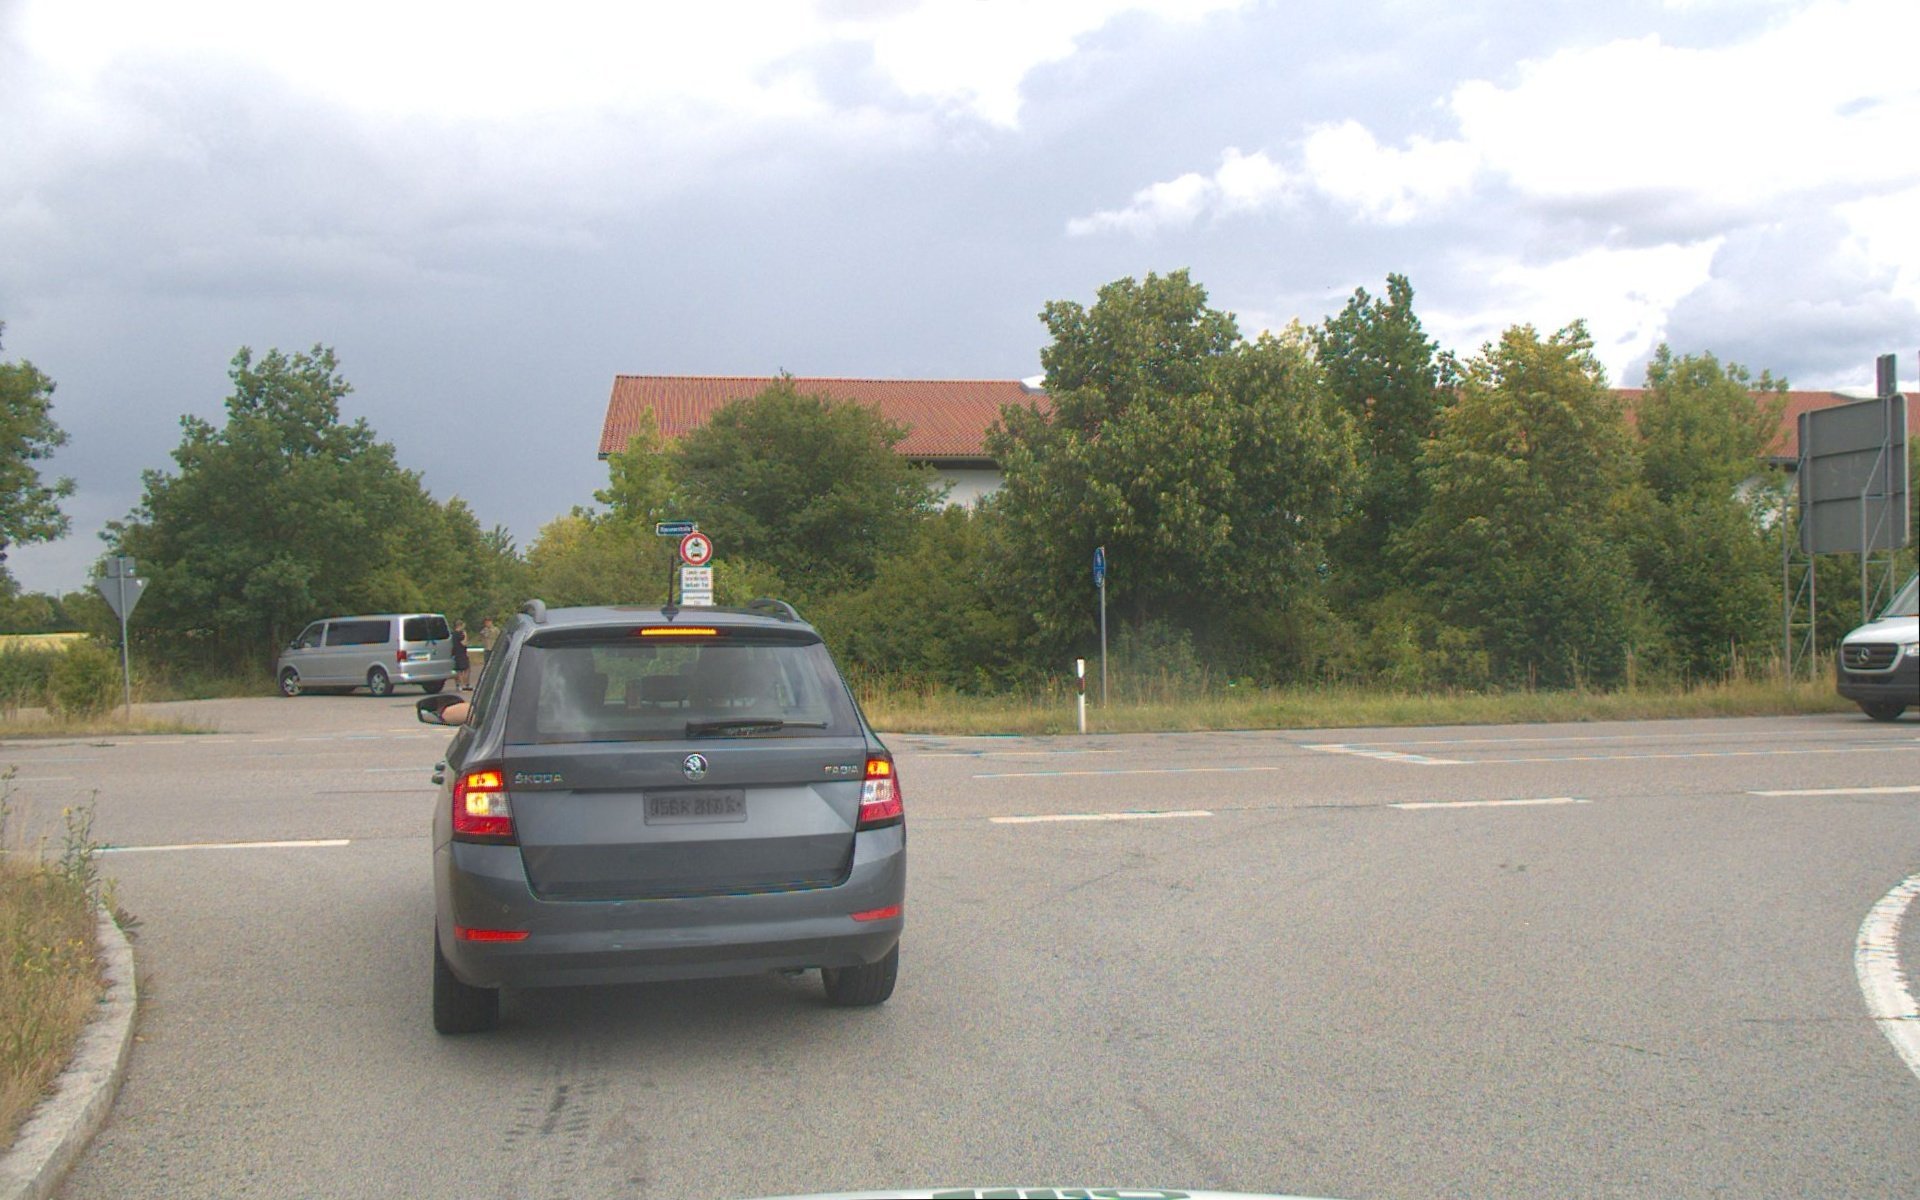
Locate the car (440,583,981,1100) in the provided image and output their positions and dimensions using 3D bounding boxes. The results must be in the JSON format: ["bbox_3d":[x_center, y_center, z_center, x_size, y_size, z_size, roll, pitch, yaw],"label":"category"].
[{"bbox_3d":[-1.261,0.728,6.802,1.650,1.488,3.689,0,-1,-17],"label":"car"}]

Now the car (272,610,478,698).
[{"bbox_3d":[-14.857,1.350,41.975,4.806,2.049,2.338,-1,1,30],"label":"car"}]

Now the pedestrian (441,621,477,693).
[{"bbox_3d":[-12.588,1.427,41.557,0.518,1.756,0.641,-1,1,28],"label":"pedestrian"}]

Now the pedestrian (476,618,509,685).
[{"bbox_3d":[-12.232,1.346,43.293,0.571,1.712,0.566,-1,1,17],"label":"pedestrian"}]

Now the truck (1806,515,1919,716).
[{"bbox_3d":[15.145,0.188,23.113,5.888,2.621,1.995,-1,-2,-11],"label":"truck"}]
